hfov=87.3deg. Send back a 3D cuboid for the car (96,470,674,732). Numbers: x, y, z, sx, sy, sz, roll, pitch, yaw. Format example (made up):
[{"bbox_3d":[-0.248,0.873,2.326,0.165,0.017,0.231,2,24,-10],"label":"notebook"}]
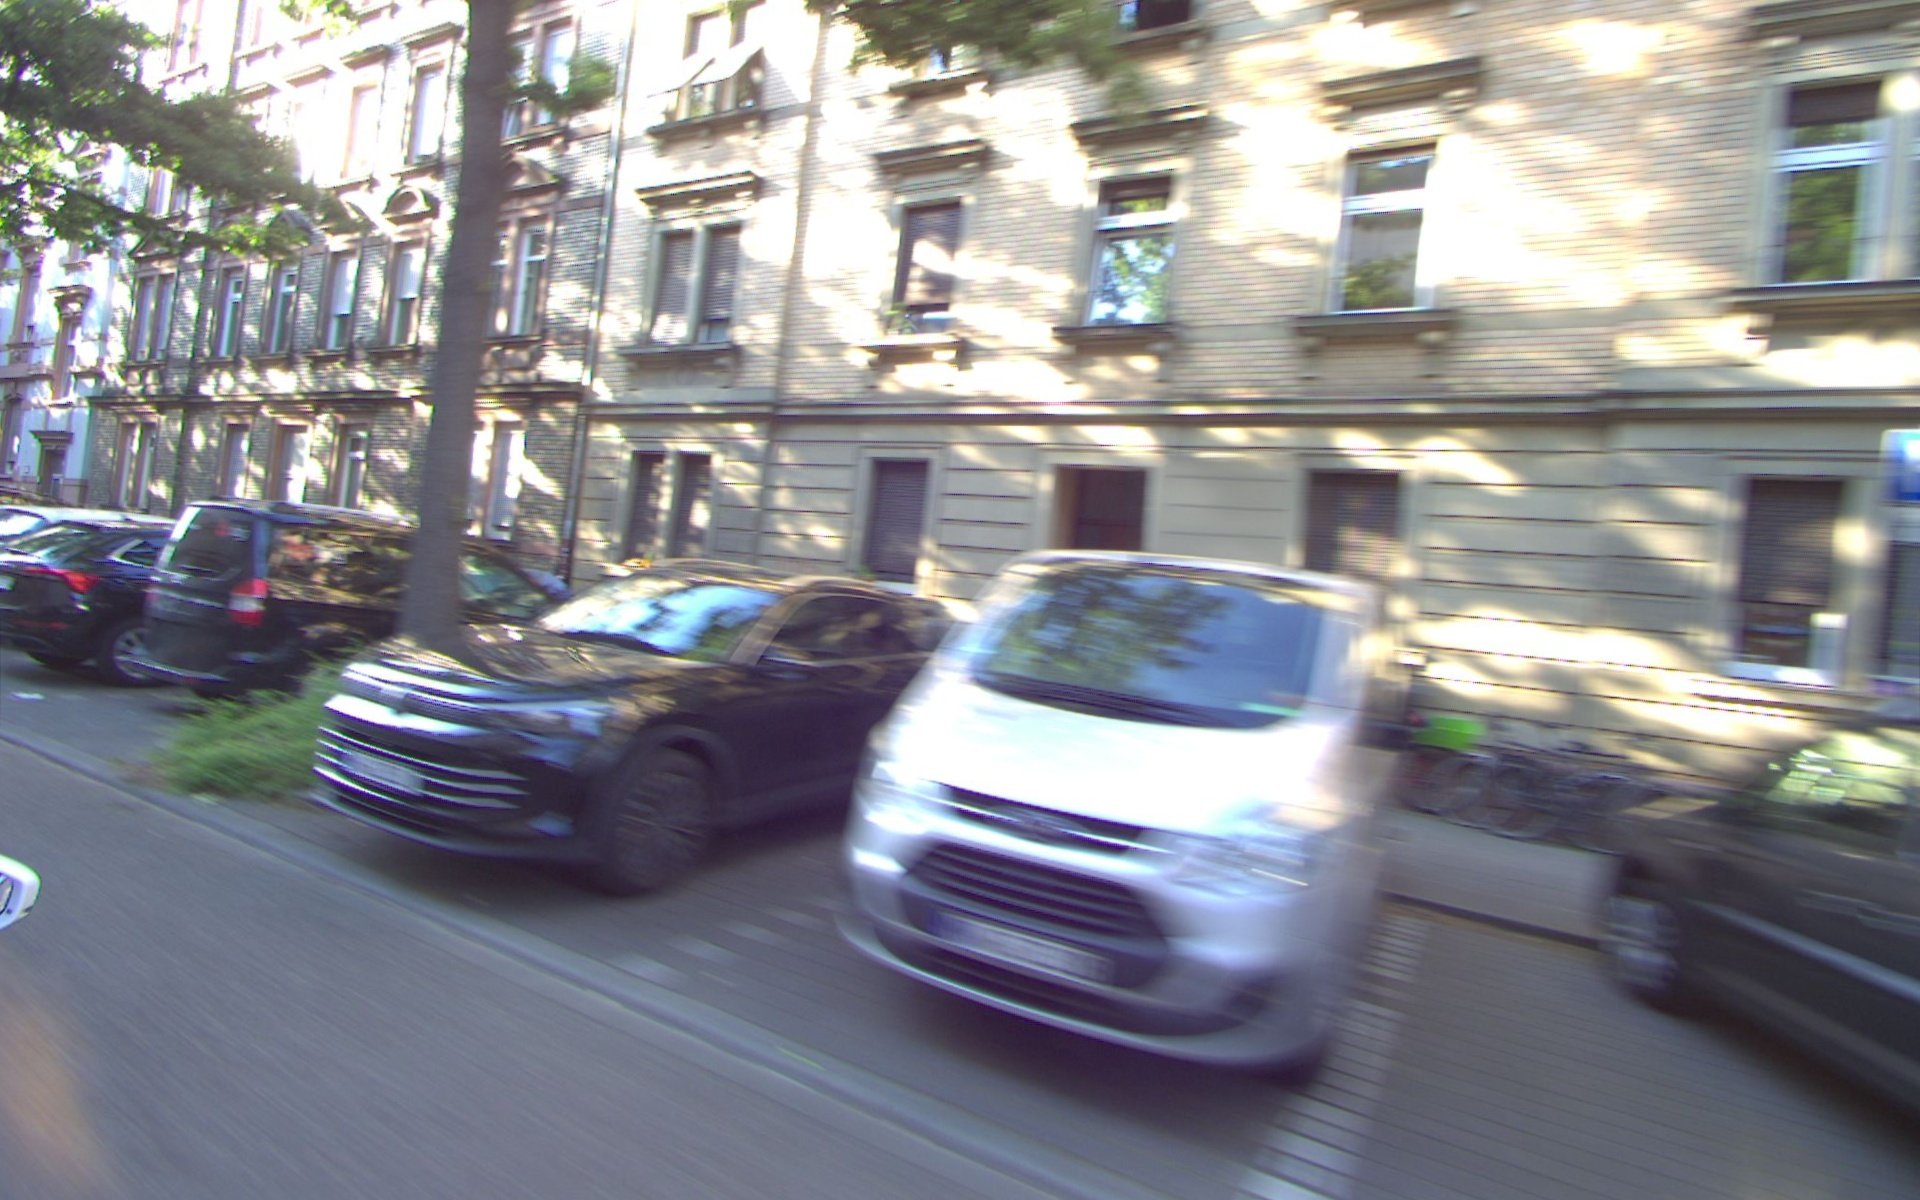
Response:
[{"bbox_3d":[-4.997,0.140,9.383,1.913,1.809,4.133,7,-2,31],"label":"car"}]

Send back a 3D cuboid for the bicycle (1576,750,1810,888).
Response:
[{"bbox_3d":[6.357,1.881,8.806,1.553,0.865,0.307,7,-1,31],"label":"bicycle"}]

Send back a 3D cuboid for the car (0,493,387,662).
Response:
[{"bbox_3d":[-9.330,-0.195,11.983,1.657,1.512,3.999,7,-2,26],"label":"car"}]

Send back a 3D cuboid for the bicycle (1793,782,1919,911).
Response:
[{"bbox_3d":[7.724,2.038,8.026,1.553,0.865,0.343,7,-1,31],"label":"bicycle"}]

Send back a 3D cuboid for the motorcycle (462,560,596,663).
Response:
[{"bbox_3d":[-6.608,0.166,15.415,1.851,1.334,0.764,7,-1,28],"label":"motorcycle"}]

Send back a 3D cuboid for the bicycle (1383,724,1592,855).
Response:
[{"bbox_3d":[4.707,1.671,9.044,1.553,0.865,0.307,7,-1,31],"label":"bicycle"}]

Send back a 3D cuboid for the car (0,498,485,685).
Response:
[{"bbox_3d":[-7.425,-0.018,10.382,1.903,1.473,4.152,7,0,28],"label":"car"}]

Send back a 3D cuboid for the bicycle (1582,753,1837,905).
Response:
[{"bbox_3d":[6.011,1.817,8.160,1.553,0.865,0.343,7,-1,31],"label":"bicycle"}]

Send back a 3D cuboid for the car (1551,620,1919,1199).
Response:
[{"bbox_3d":[4.196,1.140,3.468,1.872,1.913,4.681,7,0,8],"label":"car"}]

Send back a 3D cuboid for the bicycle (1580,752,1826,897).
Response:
[{"bbox_3d":[6.197,1.851,8.479,1.553,0.865,0.343,7,-1,31],"label":"bicycle"}]

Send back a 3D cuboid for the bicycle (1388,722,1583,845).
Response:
[{"bbox_3d":[5.012,1.729,9.657,1.553,0.865,0.307,7,-1,31],"label":"bicycle"}]

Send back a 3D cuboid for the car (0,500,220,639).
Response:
[{"bbox_3d":[-11.817,-0.482,12.332,1.658,1.473,3.996,7,-2,30],"label":"car"}]

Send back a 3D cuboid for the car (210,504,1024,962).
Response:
[{"bbox_3d":[-1.529,0.576,6.551,2.041,1.653,4.929,7,1,26],"label":"car"}]

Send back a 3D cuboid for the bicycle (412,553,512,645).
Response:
[{"bbox_3d":[-8.372,-0.023,16.888,1.851,1.334,0.368,7,-1,28],"label":"bicycle"}]

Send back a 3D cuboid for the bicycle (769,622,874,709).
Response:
[{"bbox_3d":[-1.876,0.876,13.568,1.431,0.978,0.283,7,-1,31],"label":"bicycle"}]

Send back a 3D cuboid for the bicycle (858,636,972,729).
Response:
[{"bbox_3d":[-0.589,1.043,12.870,1.431,0.978,0.283,7,-1,31],"label":"bicycle"}]

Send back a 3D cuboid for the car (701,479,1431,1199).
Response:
[{"bbox_3d":[1.183,0.741,5.343,2.137,1.926,4.929,7,1,26],"label":"car"}]

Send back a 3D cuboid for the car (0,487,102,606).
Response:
[{"bbox_3d":[-15.698,-1.021,14.587,1.860,1.675,4.485,5,-3,31],"label":"car"}]

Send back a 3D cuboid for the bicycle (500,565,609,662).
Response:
[{"bbox_3d":[-6.457,0.202,15.981,1.851,1.334,0.368,7,-1,28],"label":"bicycle"}]

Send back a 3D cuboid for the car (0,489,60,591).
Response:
[{"bbox_3d":[-18.099,-1.278,16.523,1.859,1.675,4.489,5,-3,28],"label":"car"}]

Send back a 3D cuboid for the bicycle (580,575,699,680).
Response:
[{"bbox_3d":[-4.785,0.392,14.966,1.851,1.334,0.368,7,-1,28],"label":"bicycle"}]

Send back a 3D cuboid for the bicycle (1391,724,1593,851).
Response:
[{"bbox_3d":[4.901,1.705,9.336,1.553,0.865,0.307,7,-1,31],"label":"bicycle"}]

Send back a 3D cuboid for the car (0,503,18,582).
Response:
[{"bbox_3d":[-20.169,-1.385,18.230,1.771,1.486,4.110,7,-2,30],"label":"car"}]

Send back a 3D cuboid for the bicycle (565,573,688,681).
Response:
[{"bbox_3d":[-4.834,0.373,14.540,1.851,1.334,0.368,7,-1,28],"label":"bicycle"}]

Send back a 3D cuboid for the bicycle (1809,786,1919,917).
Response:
[{"bbox_3d":[7.568,2.007,7.675,1.553,0.865,0.343,7,-1,31],"label":"bicycle"}]
